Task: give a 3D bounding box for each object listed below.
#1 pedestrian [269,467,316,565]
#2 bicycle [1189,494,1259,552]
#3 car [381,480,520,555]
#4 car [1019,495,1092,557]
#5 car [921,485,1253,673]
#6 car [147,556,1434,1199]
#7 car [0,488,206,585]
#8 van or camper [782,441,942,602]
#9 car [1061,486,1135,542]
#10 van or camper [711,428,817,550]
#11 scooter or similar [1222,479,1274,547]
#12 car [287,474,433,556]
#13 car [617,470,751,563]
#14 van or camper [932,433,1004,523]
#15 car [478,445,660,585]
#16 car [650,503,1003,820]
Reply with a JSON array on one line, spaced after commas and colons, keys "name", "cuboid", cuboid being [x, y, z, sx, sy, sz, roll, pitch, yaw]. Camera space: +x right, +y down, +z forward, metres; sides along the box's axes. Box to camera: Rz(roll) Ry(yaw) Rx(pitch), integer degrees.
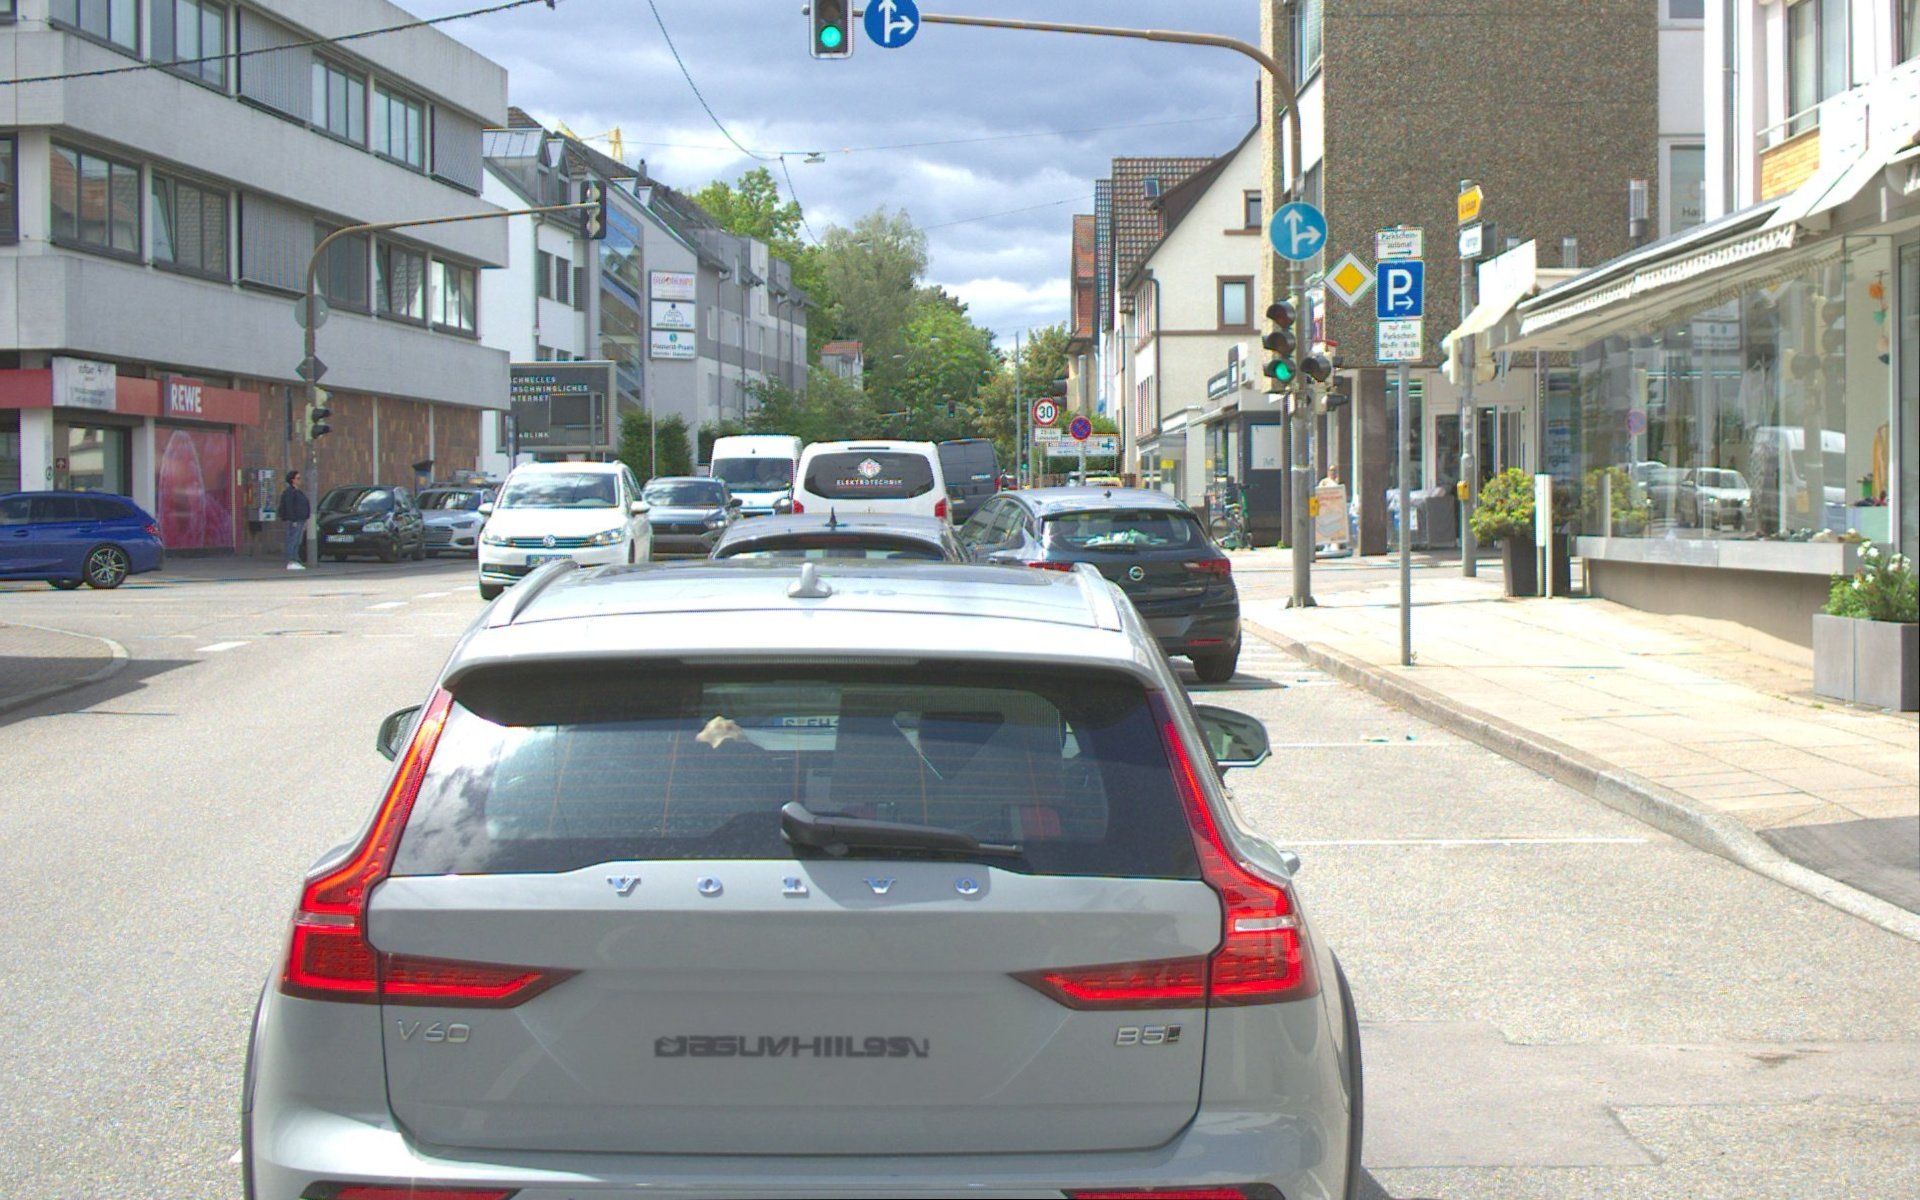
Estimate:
[{"name": "pedestrian", "cuboid": [-11.238, -1.418, 57.869, 0.619, 1.635, 0.660, -1, 2, 1]}, {"name": "bicycle", "cuboid": [5.306, -1.564, 69.129, 0.554, 1.140, 2.301, -2, 2, -18]}, {"name": "car", "cuboid": [-10.429, -1.726, 70.682, 1.904, 1.438, 4.443, 1, 2, 4]}, {"name": "car", "cuboid": [2.034, -1.585, 73.887, 1.438, 1.283, 3.248, 0, 1, -1]}, {"name": "car", "cuboid": [0.909, -0.190, 26.693, 1.807, 1.342, 3.719, -1, 1, -10]}, {"name": "car", "cuboid": [-0.263, 0.660, 6.915, 1.836, 1.481, 4.000, 0, 1, -1]}, {"name": "car", "cuboid": [-13.366, -0.922, 49.764, 4.343, 1.333, 2.000, -2, 2, -36]}, {"name": "van or camper", "cuboid": [-1.137, -0.894, 41.263, 1.819, 1.828, 4.000, 0, 0, -1]}, {"name": "car", "cuboid": [3.769, -2.350, 94.404, 1.710, 1.459, 4.000, 0, 0, -2]}, {"name": "van or camper", "cuboid": [-4.282, -2.488, 75.845, 2.148, 2.547, 5.439, -1, 3, -2]}, {"name": "scooter or similar", "cuboid": [5.513, -1.663, 65.879, 0.340, 1.249, 1.246, -3, 2, -26]}, {"name": "car", "cuboid": [-11.286, -1.612, 64.928, 1.785, 1.459, 4.086, 1, 2, 4]}, {"name": "car", "cuboid": [-4.591, -1.395, 57.678, 1.791, 1.506, 3.845, 0, 1, 2]}, {"name": "van or camper", "cuboid": [0.272, -3.751, 105.678, 2.123, 2.677, 4.781, -1, 2, 1]}, {"name": "car", "cuboid": [-4.718, -1.030, 41.944, 1.775, 1.607, 4.120, 0, 1, -1]}, {"name": "car", "cuboid": [-0.649, 0.242, 17.975, 1.650, 1.477, 3.608, 0, 1, -1]}]
